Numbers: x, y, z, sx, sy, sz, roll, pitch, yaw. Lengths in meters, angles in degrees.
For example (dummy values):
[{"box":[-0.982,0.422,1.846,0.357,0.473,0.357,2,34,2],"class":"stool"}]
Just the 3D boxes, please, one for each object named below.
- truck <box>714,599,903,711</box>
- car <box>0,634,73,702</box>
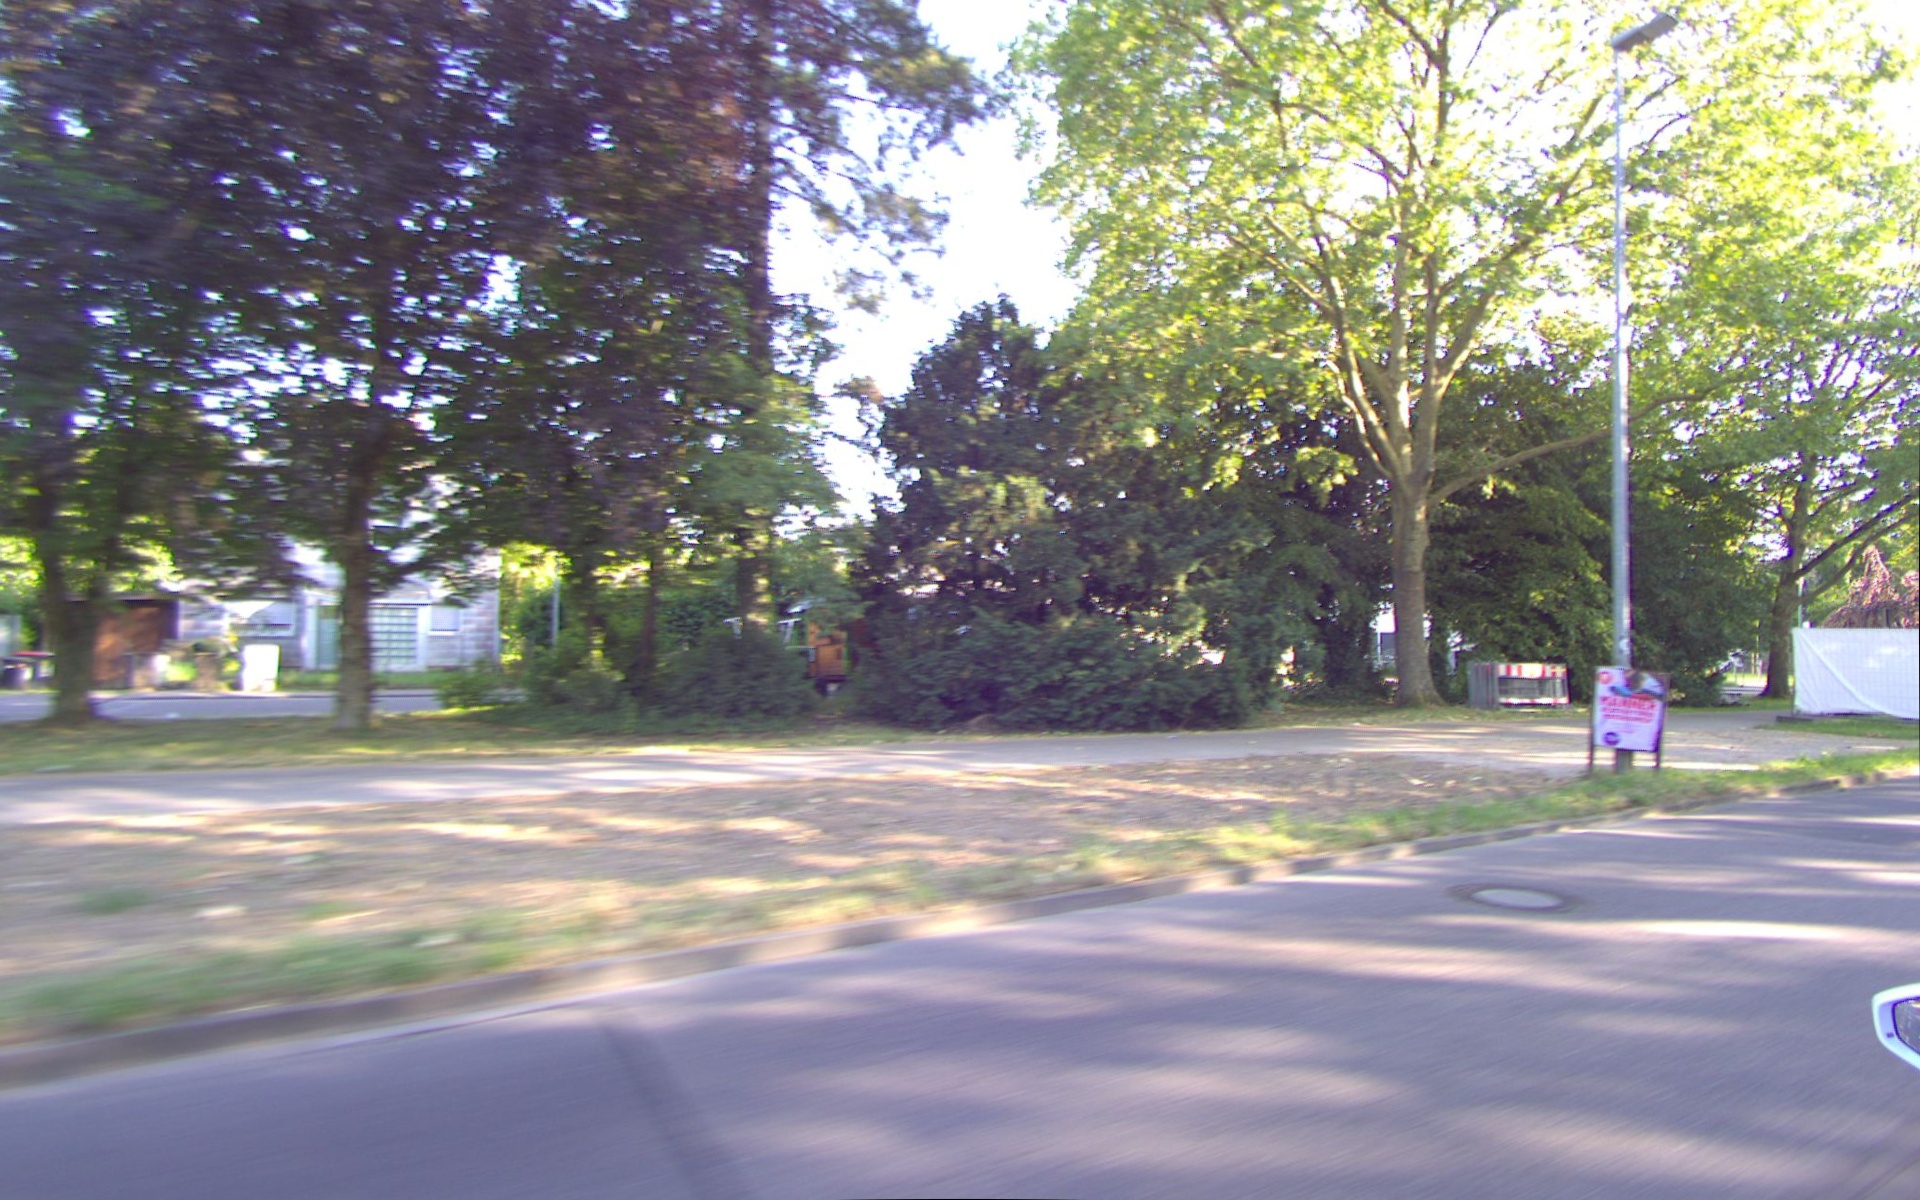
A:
[{"box":[-3.585,1.327,23.892,3.952,2.450,2.071,2,-4,-29],"class":"truck"},{"box":[-24.578,1.708,25.759,1.907,1.622,3.969,3,-4,-30],"class":"car"}]
